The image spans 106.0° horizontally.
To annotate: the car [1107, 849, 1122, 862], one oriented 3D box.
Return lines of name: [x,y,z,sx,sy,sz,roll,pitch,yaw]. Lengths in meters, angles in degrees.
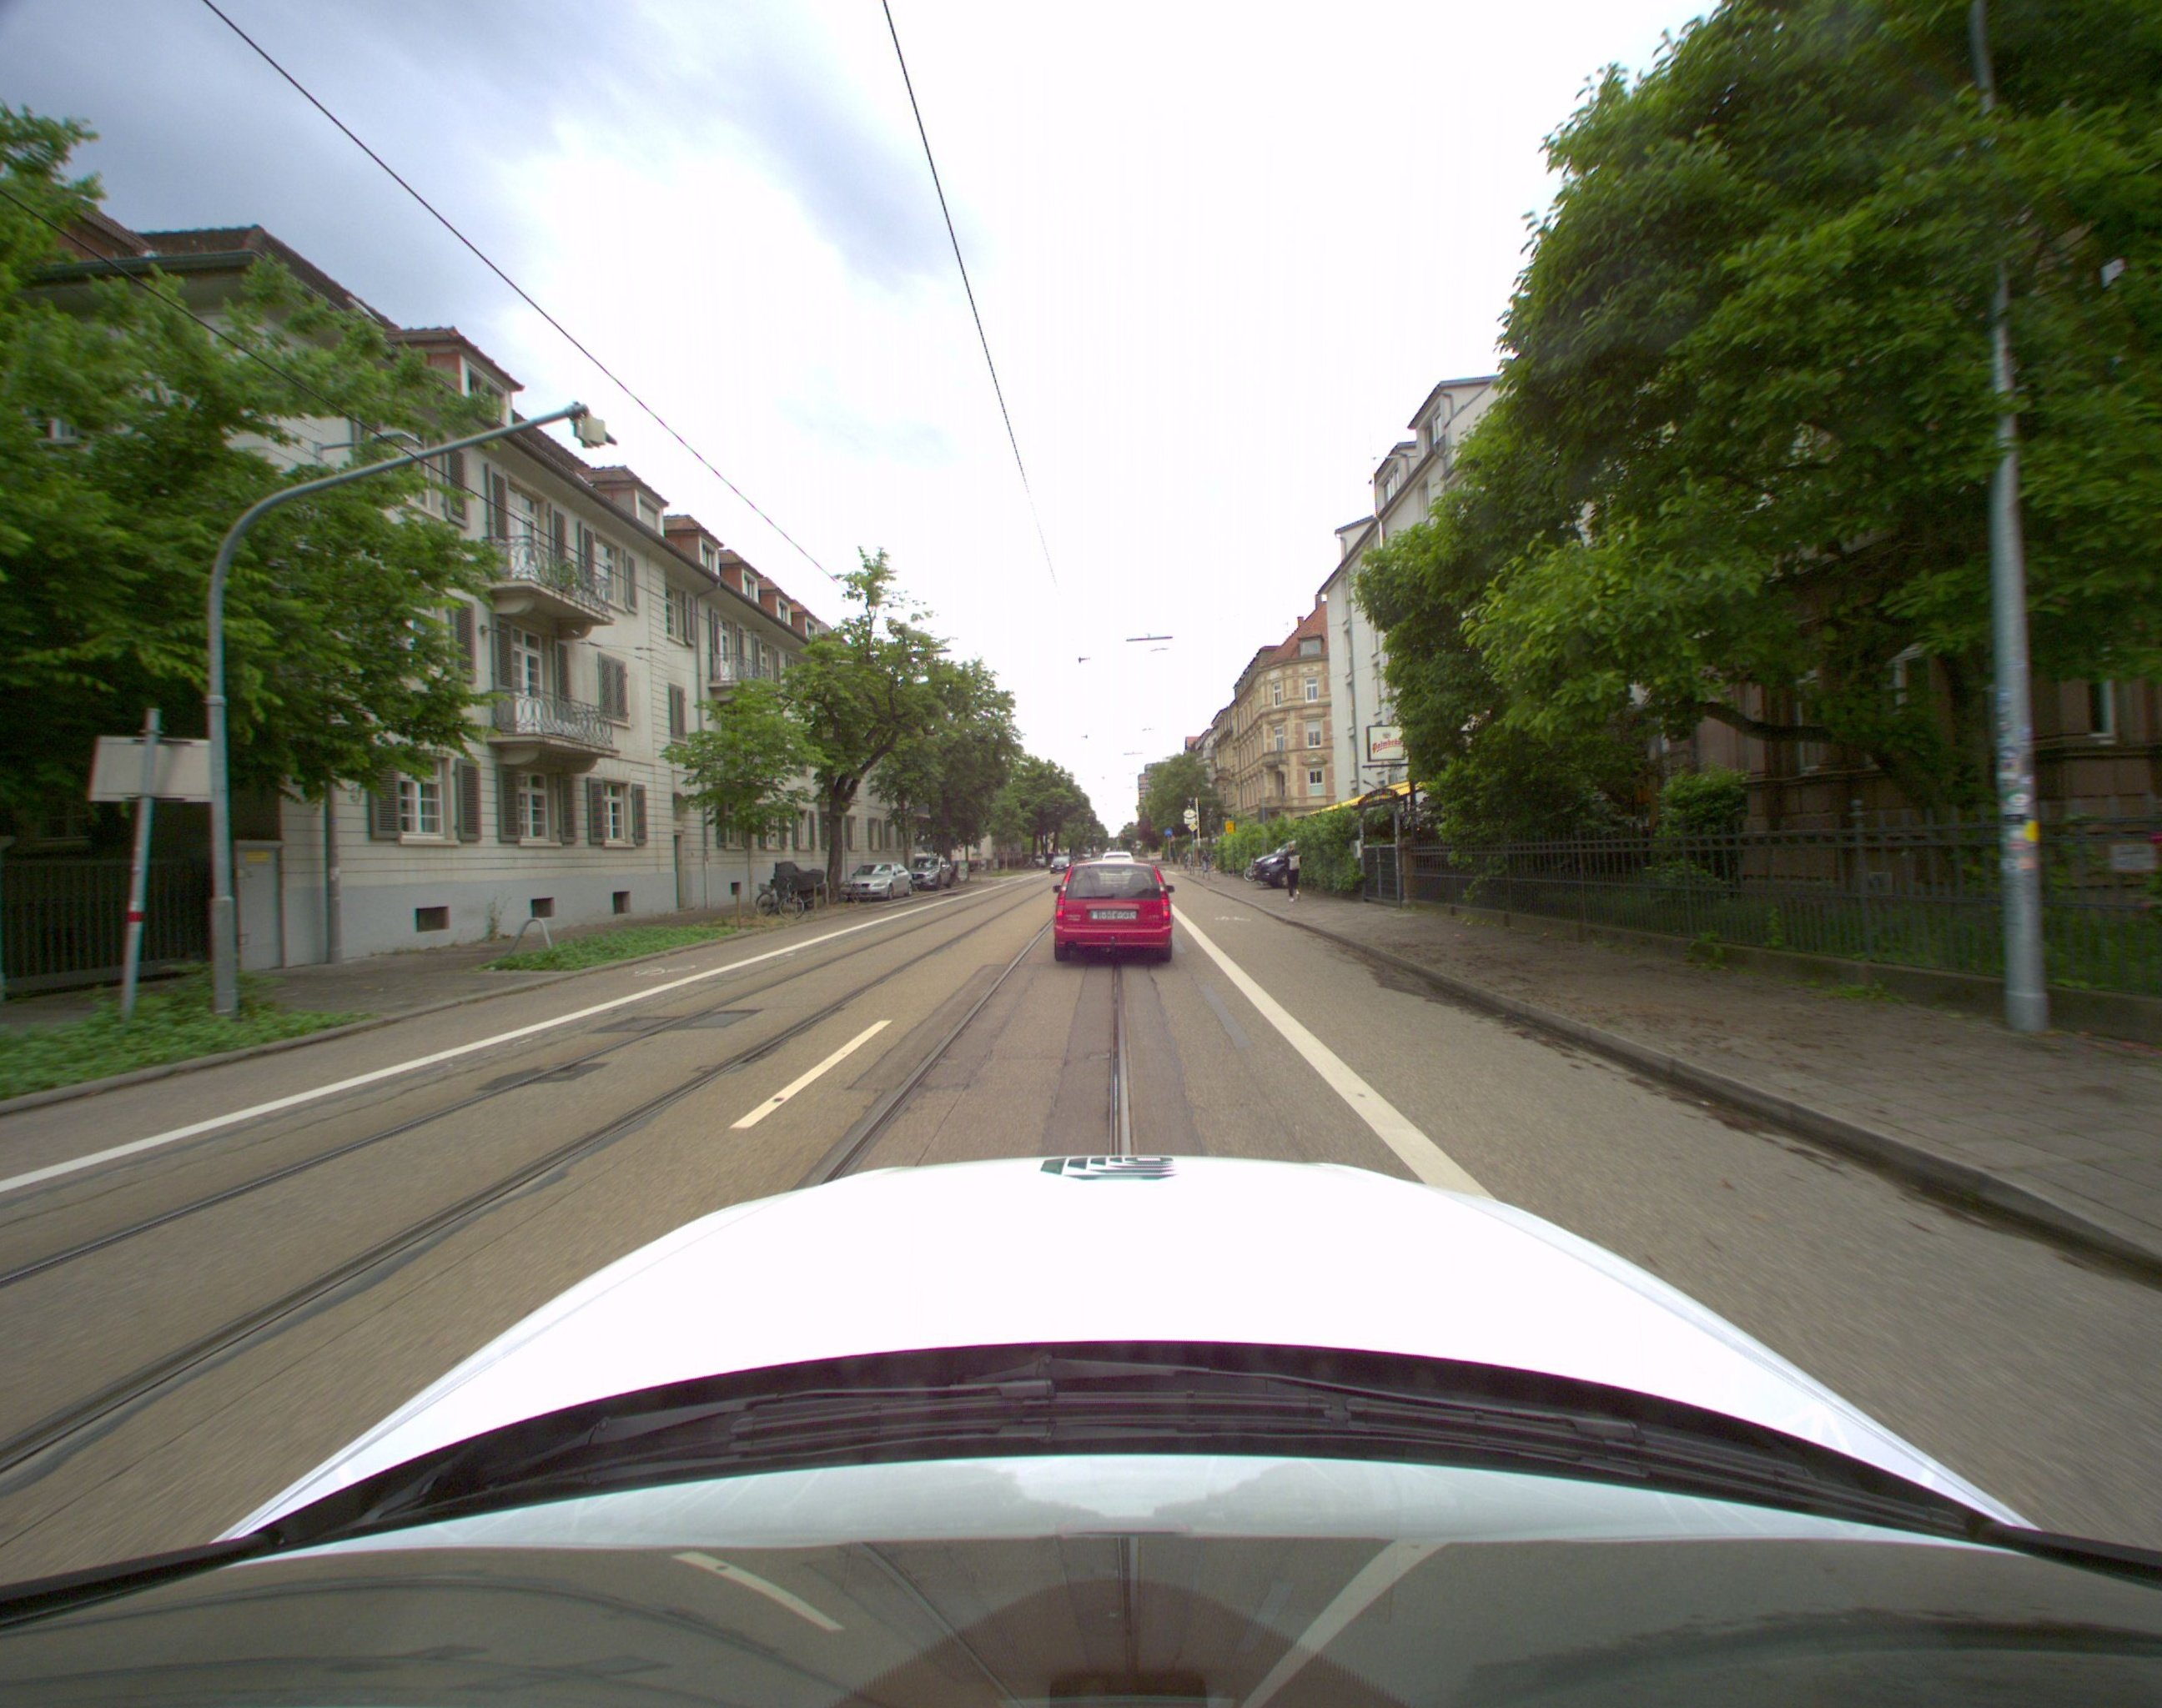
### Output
car: [4.451,0.242,108.366,1.735,1.606,4.000,-2,0,0]

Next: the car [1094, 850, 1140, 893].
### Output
car: [1.563,0.680,33.971,1.711,1.625,3.945,-2,0,4]

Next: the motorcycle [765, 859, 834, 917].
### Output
motorcycle: [-8.627,0.997,25.113,0.827,1.643,2.487,-3,0,10]

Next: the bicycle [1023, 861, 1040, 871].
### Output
bicycle: [-5.782,1.385,95.071,1.915,1.121,0.624,-1,0,1]

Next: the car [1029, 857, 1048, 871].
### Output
car: [-5.167,1.166,98.844,1.890,1.655,4.226,-2,0,1]

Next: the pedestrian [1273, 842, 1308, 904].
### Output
pedestrian: [5.939,0.527,23.101,0.621,1.671,0.960,-5,0,1]

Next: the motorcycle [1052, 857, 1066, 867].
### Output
motorcycle: [-3.844,1.387,139.956,2.243,1.511,0.932,-3,-2,37]

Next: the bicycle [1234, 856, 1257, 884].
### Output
bicycle: [7.447,0.709,36.900,0.630,1.127,1.813,-5,0,2]

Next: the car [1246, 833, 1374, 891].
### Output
car: [8.513,0.287,30.553,4.262,1.809,1.825,-4,0,4]

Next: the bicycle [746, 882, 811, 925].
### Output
bicycle: [-8.483,1.383,22.840,1.727,1.129,0.520,-3,0,20]

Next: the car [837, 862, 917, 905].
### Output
car: [-7.940,1.116,32.149,1.805,1.466,4.616,-2,0,2]

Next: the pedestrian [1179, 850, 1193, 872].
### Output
pedestrian: [7.870,0.519,61.190,0.866,1.656,0.912,-3,0,15]

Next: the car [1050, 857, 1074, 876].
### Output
car: [-1.515,0.999,66.419,1.722,1.408,3.657,-3,0,2]

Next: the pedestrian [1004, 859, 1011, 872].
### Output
pedestrian: [-8.398,1.304,92.837,0.562,1.467,0.723,-3,0,2]

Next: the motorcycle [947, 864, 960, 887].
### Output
motorcycle: [-7.492,1.244,47.984,0.539,1.257,2.139,-2,0,-4]

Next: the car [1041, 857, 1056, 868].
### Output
car: [-4.674,1.197,118.011,1.770,1.511,4.241,-2,0,3]

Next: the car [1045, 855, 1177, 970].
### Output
car: [0.555,0.772,12.453,1.681,1.441,3.748,-1,0,5]

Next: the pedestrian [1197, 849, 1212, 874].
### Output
pedestrian: [8.254,0.508,54.369,0.790,1.636,0.836,-4,-1,2]

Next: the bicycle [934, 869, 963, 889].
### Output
bicycle: [-7.243,1.363,44.684,1.369,1.005,0.931,0,0,6]

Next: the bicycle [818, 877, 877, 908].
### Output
bicycle: [-8.237,1.354,28.781,1.890,1.027,0.563,-1,0,-3]

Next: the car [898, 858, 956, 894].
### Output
car: [-7.526,1.031,40.254,1.830,1.661,4.297,0,0,3]

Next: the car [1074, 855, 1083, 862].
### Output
car: [-0.512,1.027,184.841,1.844,1.563,3.945,-2,0,2]

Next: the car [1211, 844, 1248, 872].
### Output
car: [11.125,0.276,60.734,2.036,1.877,5.052,-3,0,17]
